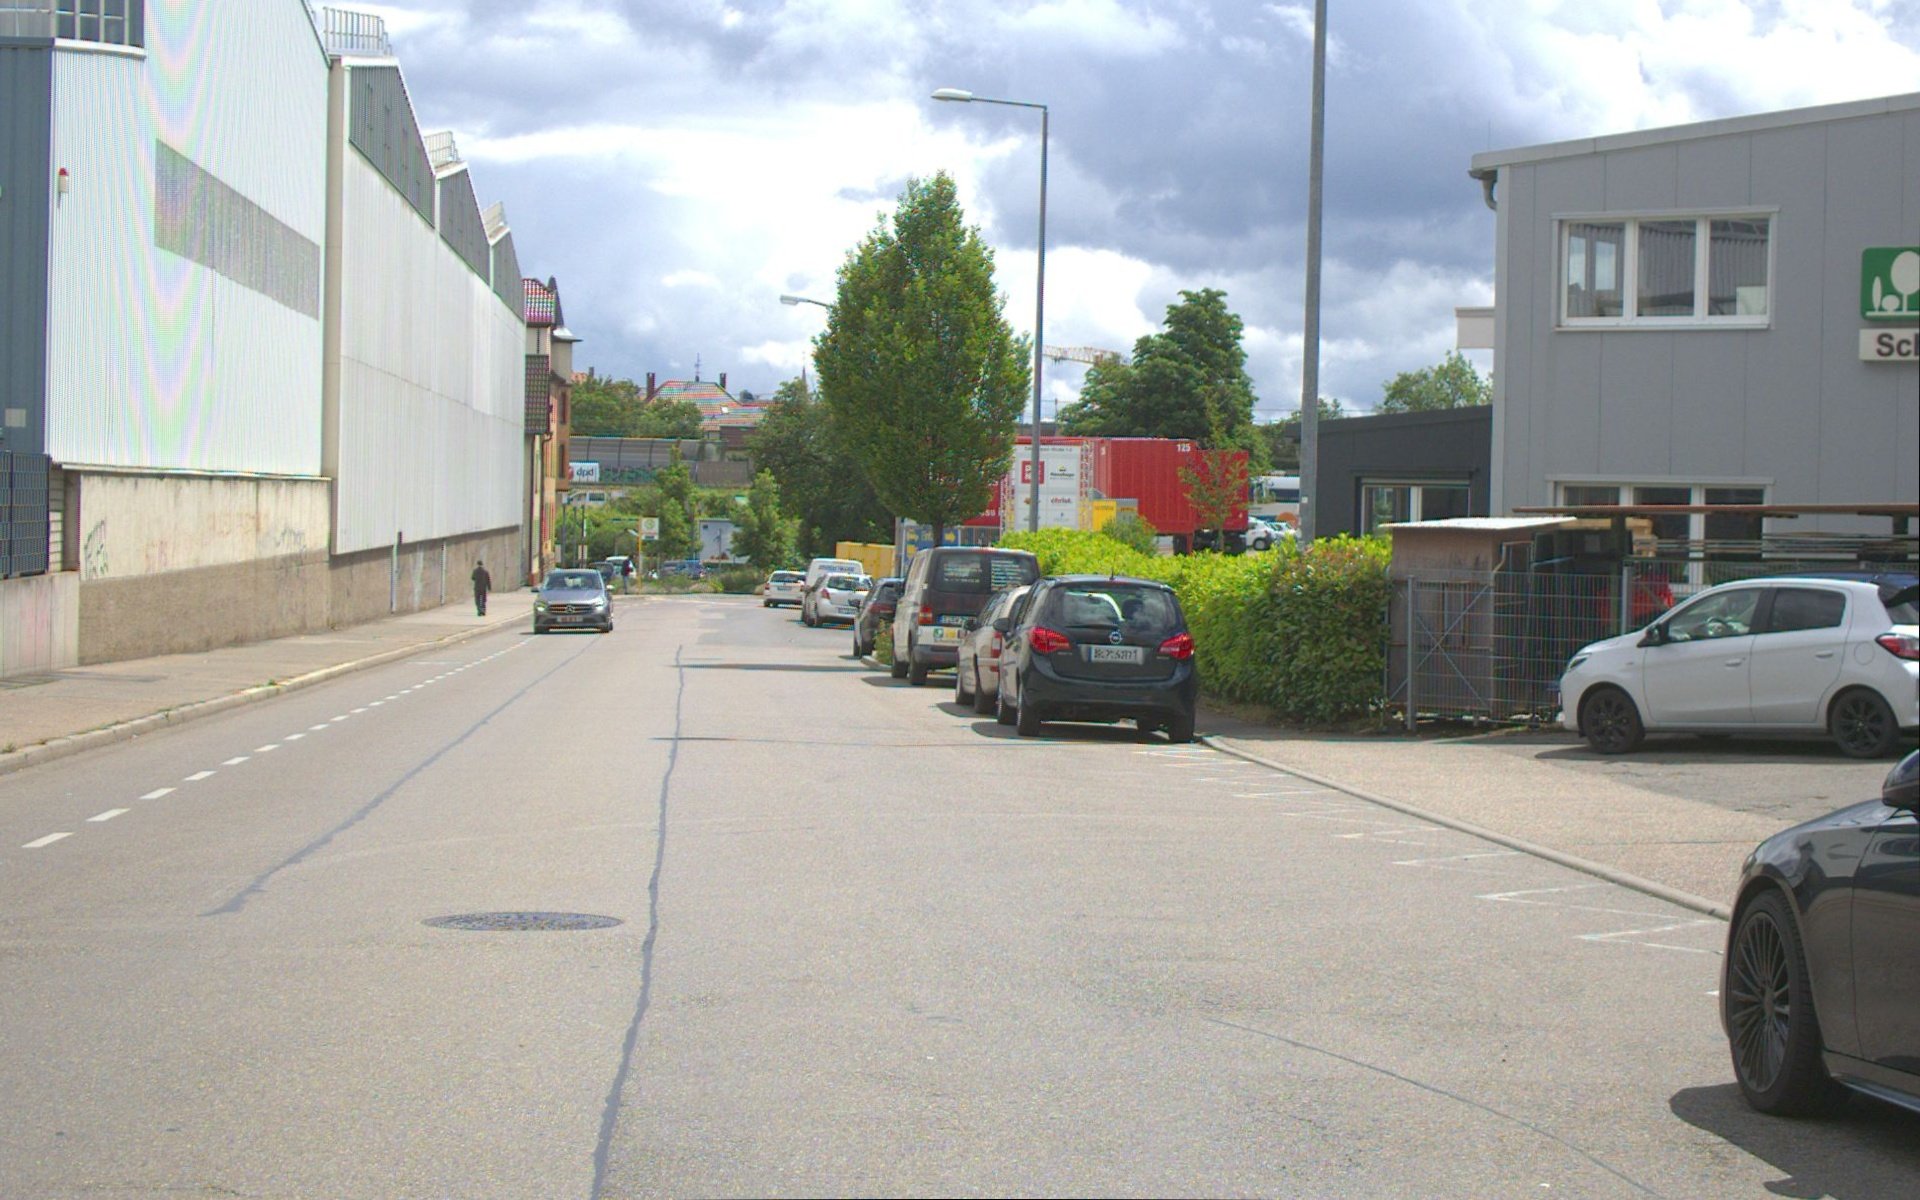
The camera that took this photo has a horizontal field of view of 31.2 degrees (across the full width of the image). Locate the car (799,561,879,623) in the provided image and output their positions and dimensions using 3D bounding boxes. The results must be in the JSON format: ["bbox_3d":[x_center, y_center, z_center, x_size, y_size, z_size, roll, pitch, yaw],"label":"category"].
[{"bbox_3d":[-3.309,-0.236,93.756,1.701,1.522,3.739,4,0,-8],"label":"car"}]

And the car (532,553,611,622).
[{"bbox_3d":[-9.349,-0.292,82.871,1.719,1.550,4.288,-2,0,-5],"label":"car"}]

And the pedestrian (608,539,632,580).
[{"bbox_3d":[-14.204,-1.694,143.655,0.853,1.657,0.860,1,-1,0],"label":"pedestrian"}]

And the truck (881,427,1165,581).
[{"bbox_3d":[1.984,-3.026,108.020,8.457,4.655,2.580,1,-1,17],"label":"truck"}]

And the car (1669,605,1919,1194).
[{"bbox_3d":[3.341,0.779,8.423,1.791,1.461,4.709,1,0,-6],"label":"car"}]

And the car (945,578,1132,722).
[{"bbox_3d":[0.843,0.533,39.857,1.655,1.535,4.735,1,0,-5],"label":"car"}]

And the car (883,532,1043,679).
[{"bbox_3d":[-0.014,0.059,49.745,1.869,1.983,5.144,1,0,-5],"label":"car"}]

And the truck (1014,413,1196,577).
[{"bbox_3d":[4.189,-3.004,101.357,2.573,4.434,7.864,2,-1,-19],"label":"truck"}]

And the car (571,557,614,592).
[{"bbox_3d":[-17.122,-1.195,160.245,1.852,1.481,4.000,1,-1,-5],"label":"car"}]

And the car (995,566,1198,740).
[{"bbox_3d":[1.322,0.490,34.917,1.679,1.632,4.123,1,0,-3],"label":"car"}]

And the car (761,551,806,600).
[{"bbox_3d":[-6.783,-0.929,131.713,1.566,1.780,3.606,1,-1,-5],"label":"car"}]

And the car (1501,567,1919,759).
[{"bbox_3d":[6.718,0.496,28.865,1.720,1.457,4.073,-3,1,-43],"label":"car"}]

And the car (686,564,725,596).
[{"bbox_3d":[-12.677,-0.972,171.272,1.852,1.481,4.000,1,-1,-5],"label":"car"}]

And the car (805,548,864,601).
[{"bbox_3d":[-3.816,-0.775,104.351,1.701,1.522,3.738,2,1,-3],"label":"car"}]

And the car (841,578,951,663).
[{"bbox_3d":[-1.216,0.354,63.489,1.714,1.468,4.512,1,0,-5],"label":"car"}]
